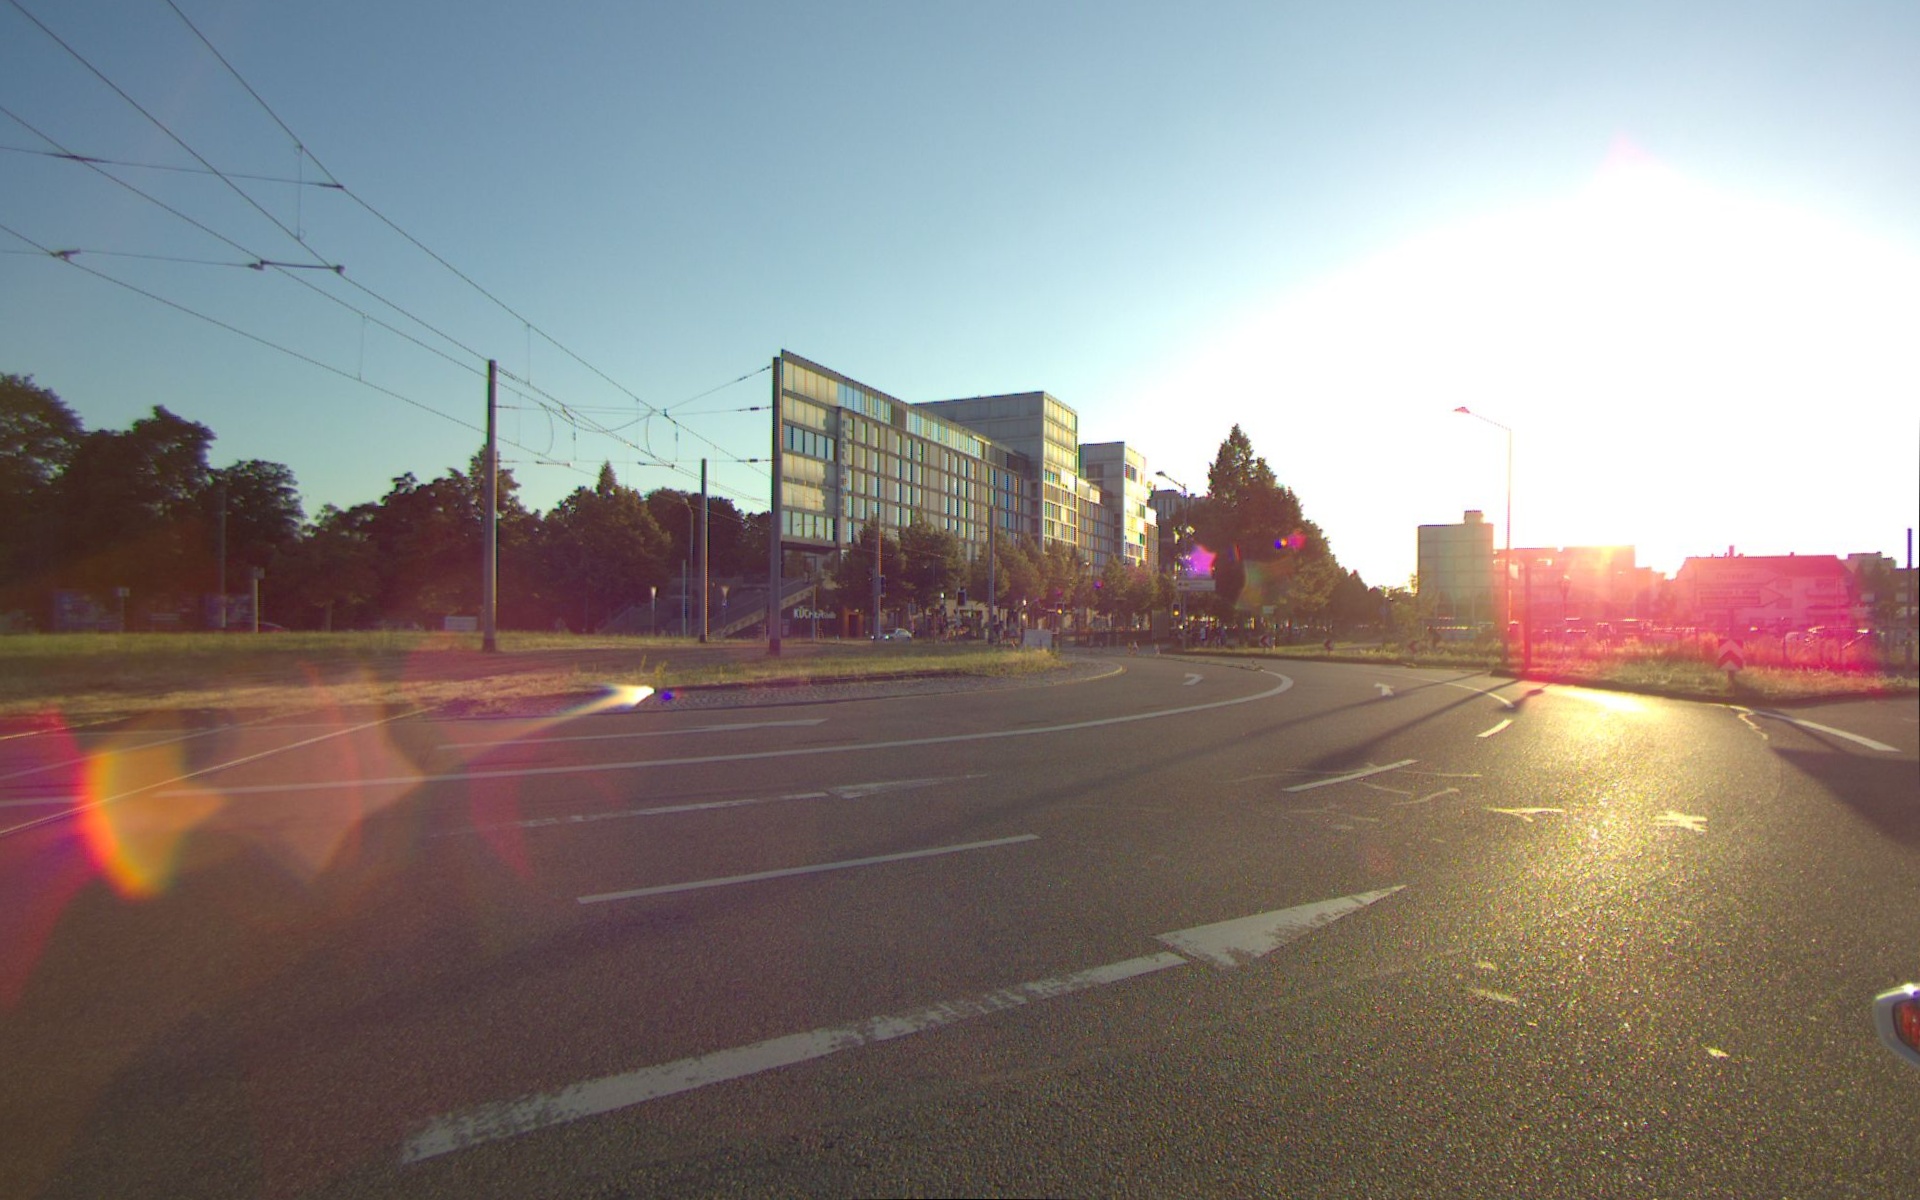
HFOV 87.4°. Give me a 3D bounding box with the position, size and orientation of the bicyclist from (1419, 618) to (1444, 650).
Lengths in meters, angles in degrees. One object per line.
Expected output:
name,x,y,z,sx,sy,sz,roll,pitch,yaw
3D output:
bicyclist,23.815,1.717,50.785,0.740,1.634,0.977,1,-1,-6

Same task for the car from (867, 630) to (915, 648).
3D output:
car,-6.155,3.479,90.288,1.963,1.565,5.196,0,-2,27

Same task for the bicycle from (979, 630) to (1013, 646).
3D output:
bicycle,2.604,2.749,72.840,2.360,1.182,0.755,0,-1,13

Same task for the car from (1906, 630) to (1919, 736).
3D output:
car,13.377,1.170,12.414,1.926,1.446,4.412,2,1,37

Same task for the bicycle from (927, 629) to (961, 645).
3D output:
bicycle,-1.181,2.733,74.208,2.361,1.182,0.755,0,-1,16

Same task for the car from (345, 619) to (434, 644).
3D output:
car,-34.161,1.864,60.237,4.242,1.451,1.942,0,-1,-10

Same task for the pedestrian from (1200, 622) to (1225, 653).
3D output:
pedestrian,15.758,2.333,62.681,0.973,1.851,1.147,2,-1,-43

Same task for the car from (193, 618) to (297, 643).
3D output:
car,-41.867,1.782,58.928,4.514,1.451,1.941,0,-1,-12

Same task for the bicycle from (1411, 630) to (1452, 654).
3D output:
bicycle,23.816,2.115,50.803,0.740,1.182,2.408,1,-1,-6

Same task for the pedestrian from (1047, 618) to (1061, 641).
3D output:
pedestrian,6.875,2.160,73.708,0.871,1.730,0.795,0,-1,19

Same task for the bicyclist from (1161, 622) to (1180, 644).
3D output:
bicyclist,13.552,2.123,64.709,0.964,1.412,0.750,0,-1,42

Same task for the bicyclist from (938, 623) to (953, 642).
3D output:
bicyclist,-1.078,2.397,74.181,0.862,1.411,0.755,0,-1,16

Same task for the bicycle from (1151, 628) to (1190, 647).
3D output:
bicycle,13.552,2.416,64.728,2.375,1.182,0.750,0,-2,42

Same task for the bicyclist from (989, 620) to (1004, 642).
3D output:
bicyclist,2.647,2.256,72.854,0.959,1.545,0.755,0,-1,13
